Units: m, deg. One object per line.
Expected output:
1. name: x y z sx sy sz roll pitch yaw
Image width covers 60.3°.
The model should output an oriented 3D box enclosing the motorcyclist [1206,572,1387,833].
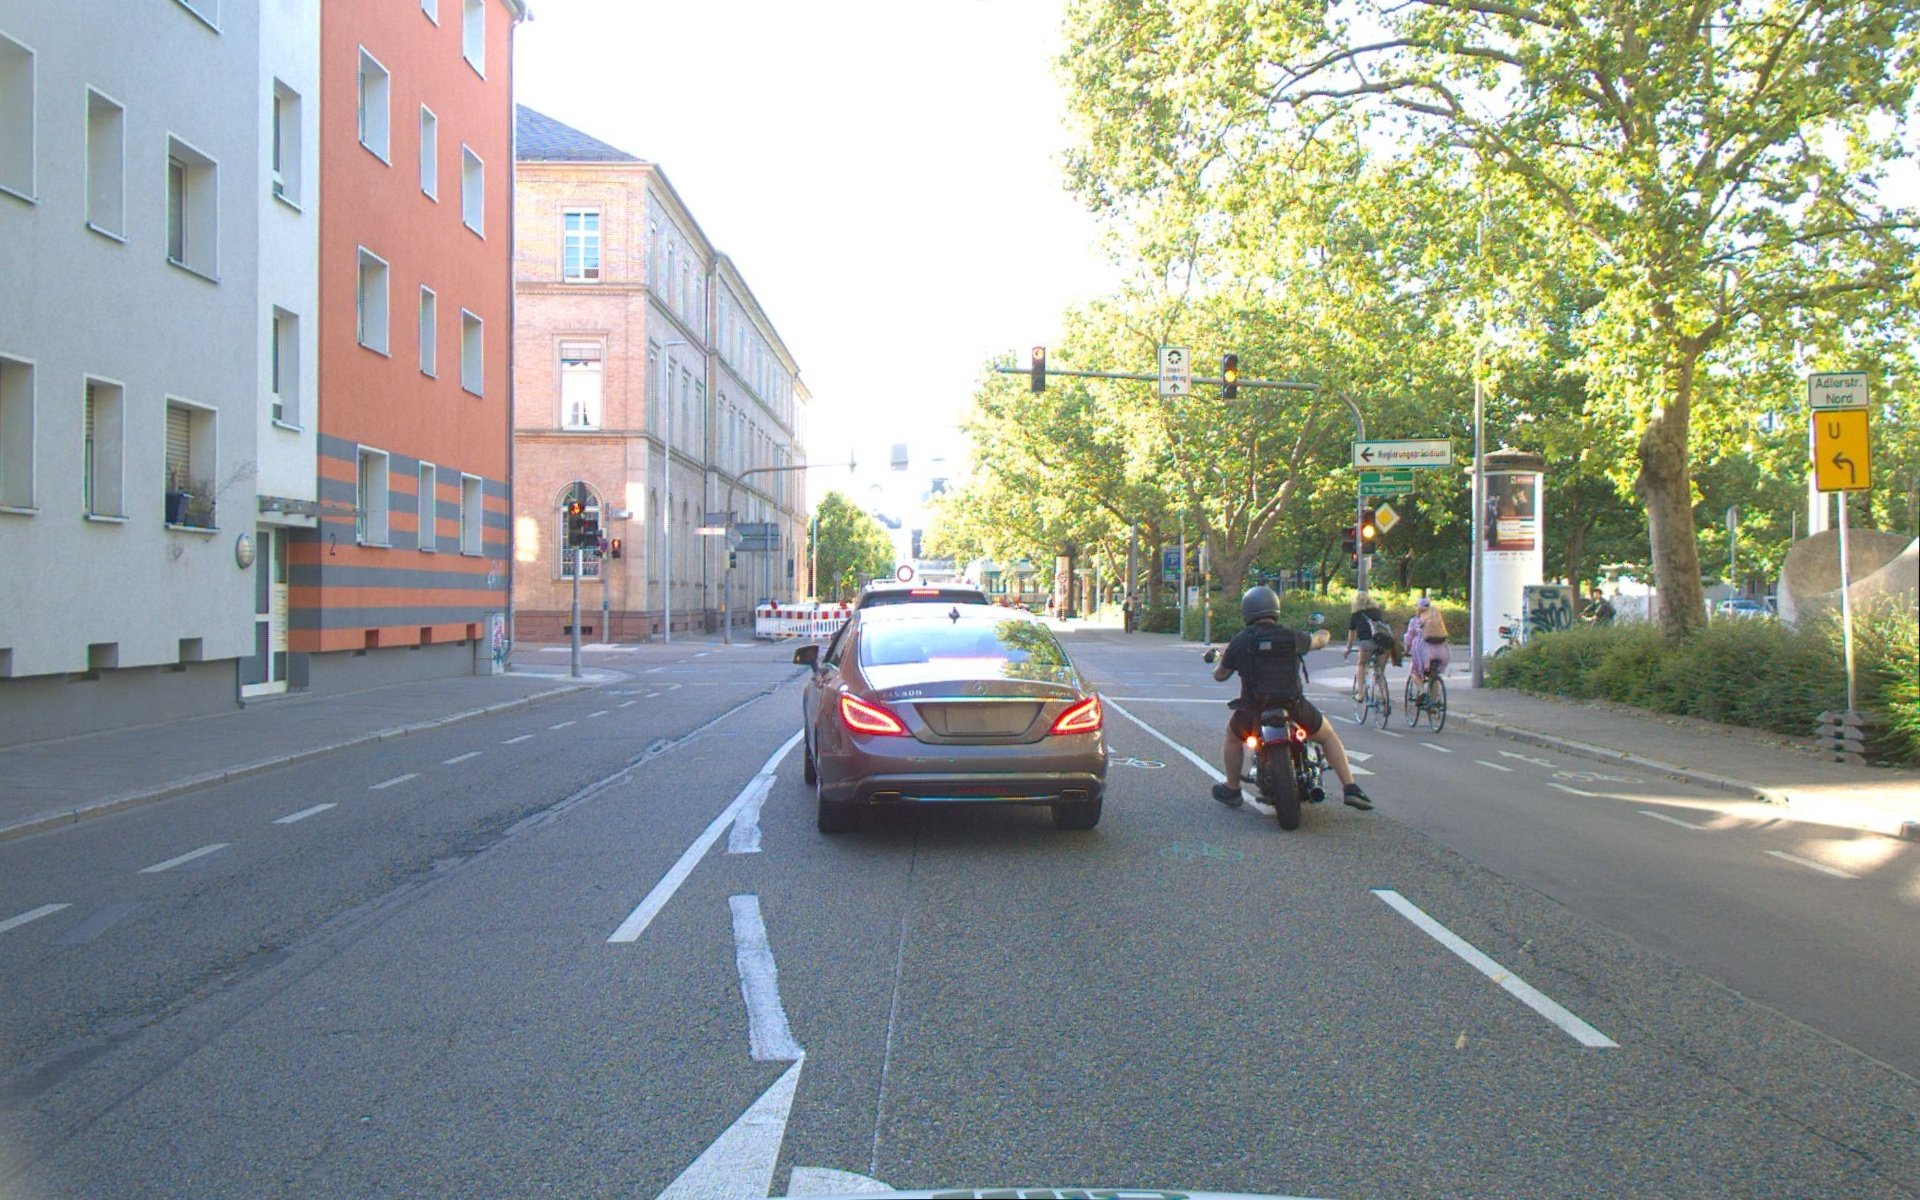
1. motorcyclist: 2.291 0.642 11.155 1.089 1.641 1.203 0 0 17

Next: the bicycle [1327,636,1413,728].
1. bicycle: 5.125 1.009 20.757 0.598 1.044 1.731 2 0 -1

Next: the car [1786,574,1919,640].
1. car: 25.653 0.186 46.439 3.912 1.815 2.001 0 0 4

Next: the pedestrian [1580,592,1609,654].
1. pedestrian: 18.624 0.668 48.551 0.607 1.815 0.630 0 0 1

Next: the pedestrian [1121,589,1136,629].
1. pedestrian: 7.156 0.369 70.186 0.548 1.707 0.564 0 0 -1

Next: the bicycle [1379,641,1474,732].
1. bicycle: 5.781 1.047 20.590 0.588 1.002 1.881 2 0 -1

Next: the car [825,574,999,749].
1. car: -0.518 0.579 17.592 1.647 1.653 3.839 0 0 -2

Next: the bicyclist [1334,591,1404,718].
1. bicyclist: 5.131 0.664 20.778 0.598 1.542 0.889 2 0 -1

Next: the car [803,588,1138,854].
1. car: -0.133 0.685 11.628 1.787 1.502 4.346 0 0 -7

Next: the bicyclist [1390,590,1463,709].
1. bicyclist: 5.792 0.598 20.571 0.588 1.426 0.931 2 0 -1

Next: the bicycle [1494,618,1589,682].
1. bicycle: 9.696 0.831 27.593 1.387 1.055 0.538 0 0 -5

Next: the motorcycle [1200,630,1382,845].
1. motorcycle: 2.337 0.853 11.368 0.986 1.225 2.667 0 0 17
